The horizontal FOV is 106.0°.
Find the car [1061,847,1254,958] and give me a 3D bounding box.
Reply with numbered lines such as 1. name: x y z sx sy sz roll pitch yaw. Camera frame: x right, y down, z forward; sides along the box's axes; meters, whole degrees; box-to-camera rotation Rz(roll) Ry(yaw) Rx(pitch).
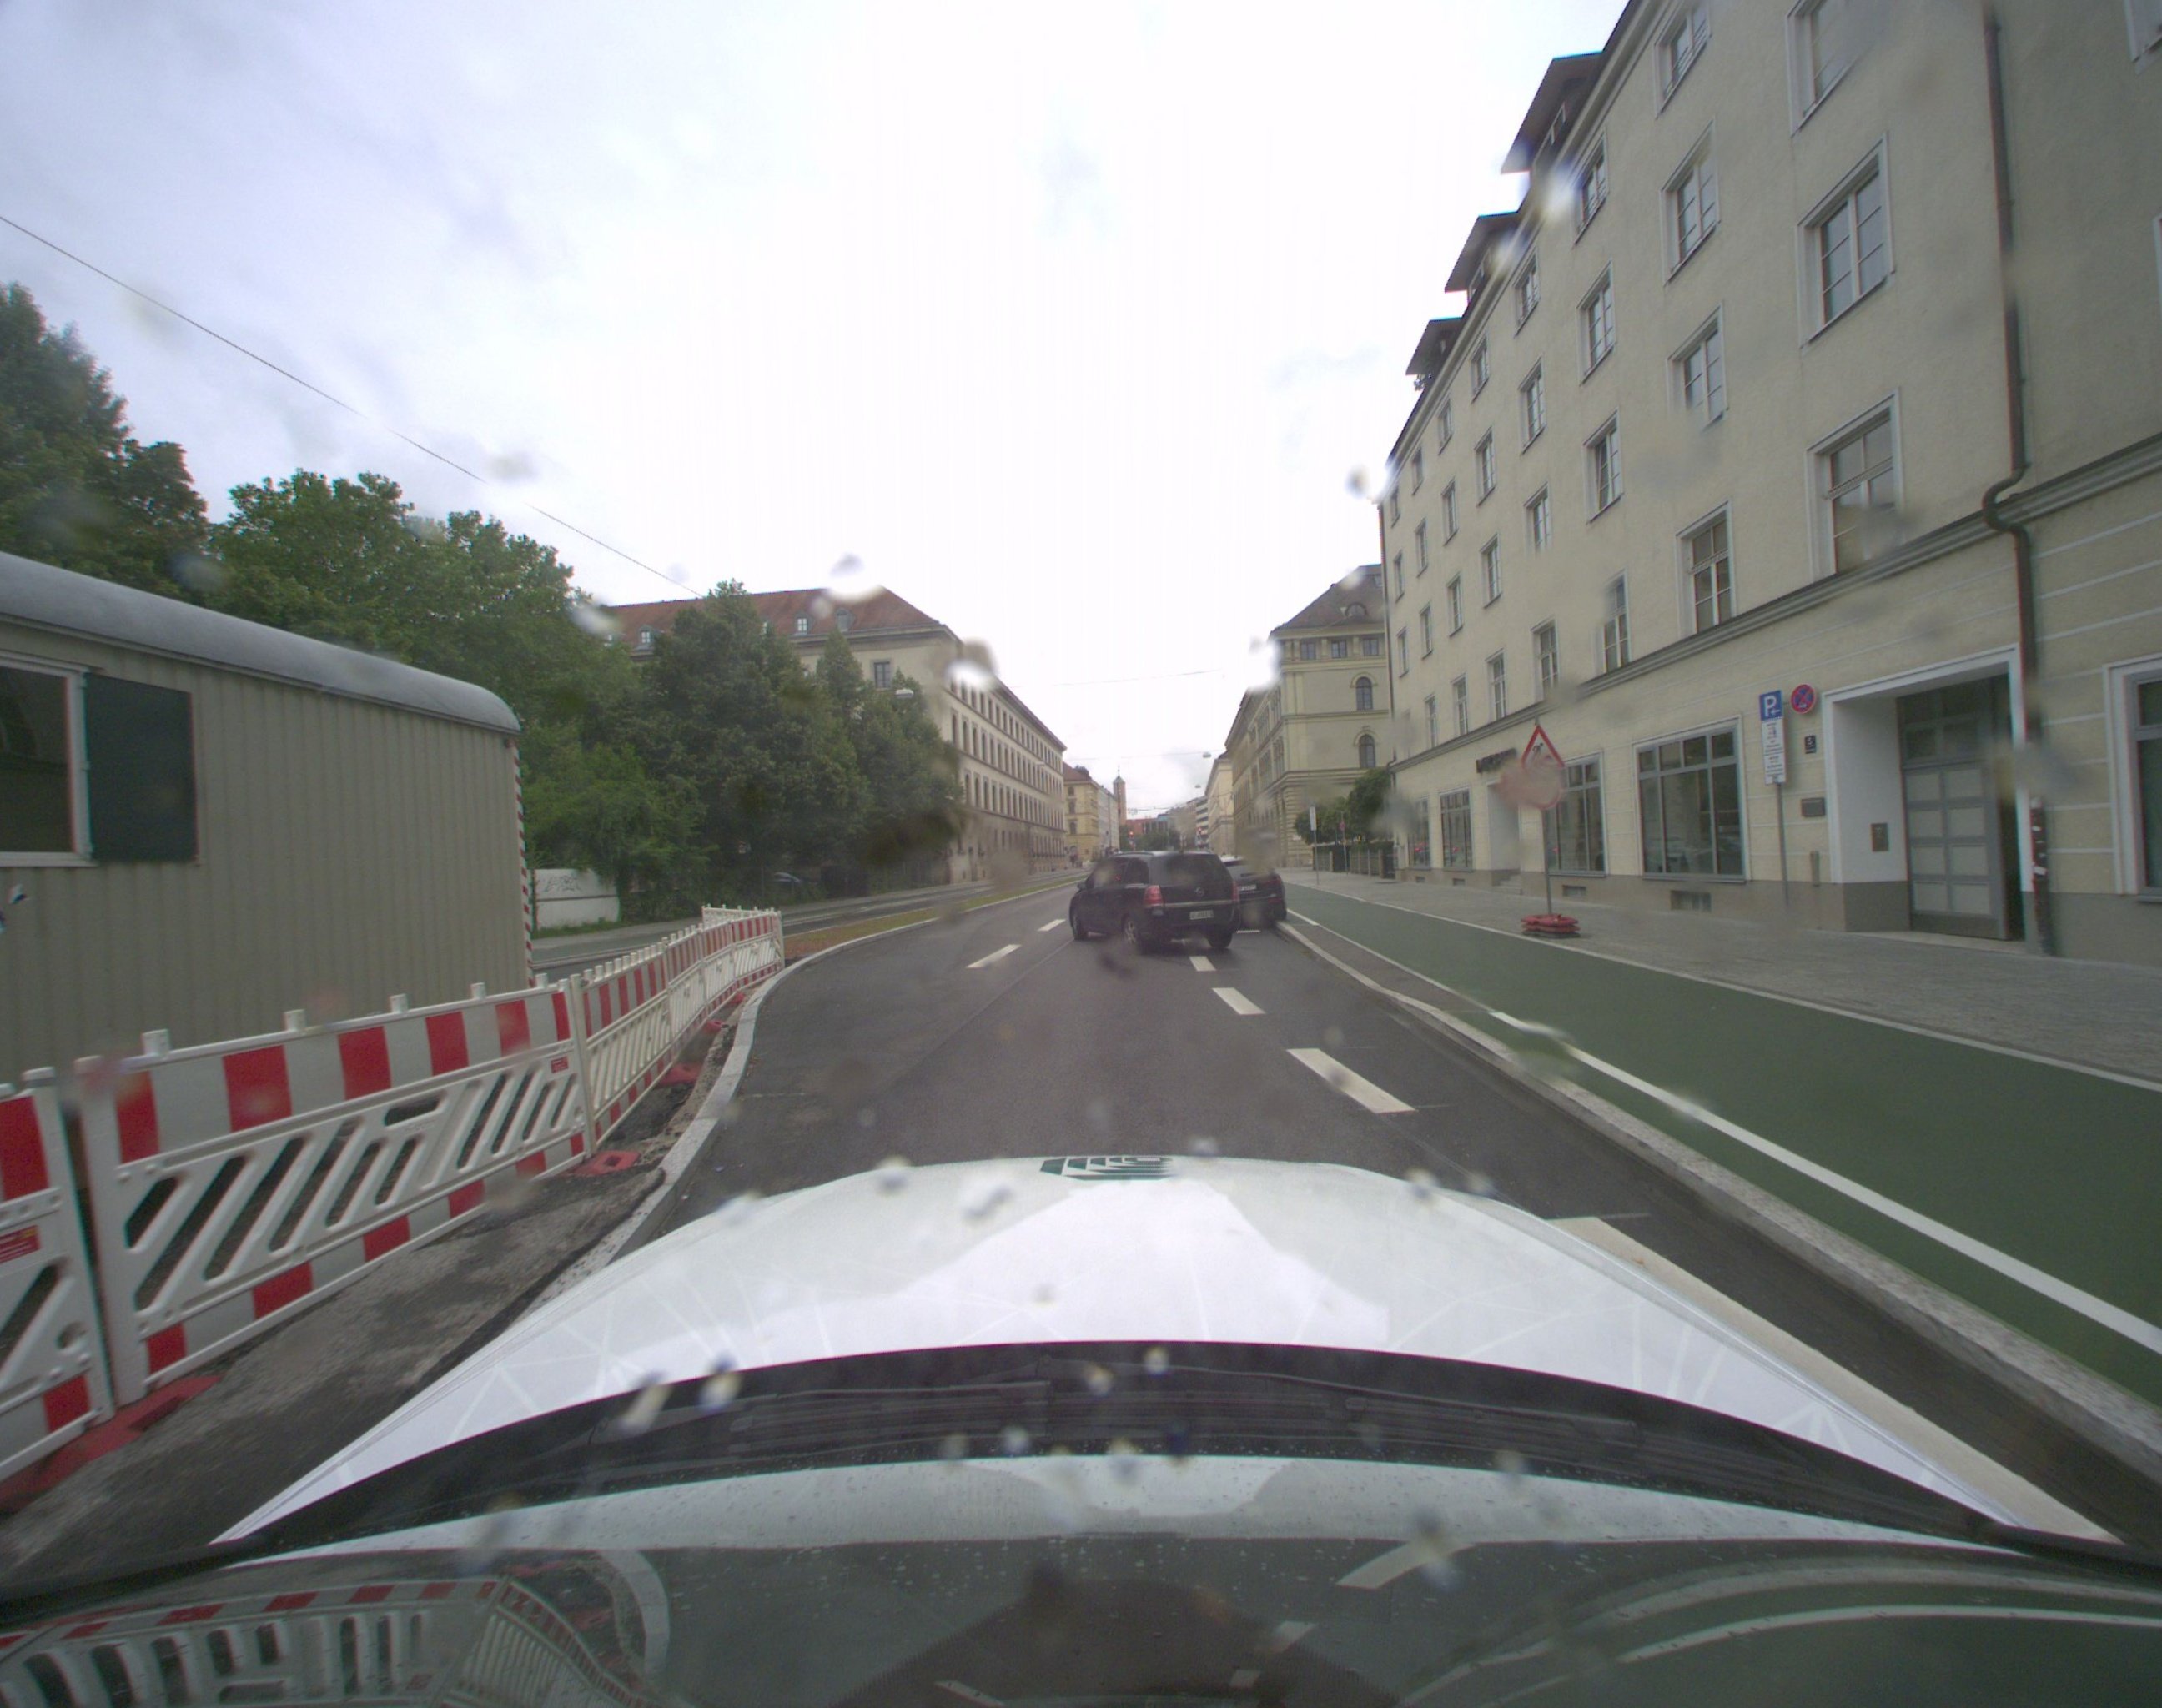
1. car: 1.150 0.736 14.258 1.771 1.616 4.001 -1 0 -21

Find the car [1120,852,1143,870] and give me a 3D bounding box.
1. car: 5.065 0.668 81.989 1.983 1.627 4.008 -3 0 7

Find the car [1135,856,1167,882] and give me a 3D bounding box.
1. car: 4.180 0.855 48.421 1.721 1.403 4.008 -1 0 7

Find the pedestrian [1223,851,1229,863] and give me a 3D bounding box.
1. pedestrian: 20.540 0.407 115.075 0.706 1.618 0.756 -3 -1 6

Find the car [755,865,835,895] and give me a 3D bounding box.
1. car: -17.867 1.616 50.985 4.240 1.649 1.808 -3 0 6

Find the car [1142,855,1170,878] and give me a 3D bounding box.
1. car: 5.130 0.807 55.220 1.721 1.461 4.008 -1 0 7

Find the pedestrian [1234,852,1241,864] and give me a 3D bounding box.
1. pedestrian: 20.968 0.518 109.069 0.706 1.618 0.756 -3 -1 6

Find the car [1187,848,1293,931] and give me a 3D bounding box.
1. car: 3.502 0.724 18.697 1.800 1.480 4.469 -6 -1 5

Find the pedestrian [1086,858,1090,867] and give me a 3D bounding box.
1. pedestrian: 1.392 1.666 160.439 0.652 1.805 0.728 -3 -1 6

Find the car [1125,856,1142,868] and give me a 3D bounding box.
1. car: 6.744 1.033 104.297 1.983 1.444 4.008 -3 0 7

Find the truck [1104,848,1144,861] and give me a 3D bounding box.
1. truck: 8.146 0.108 153.758 7.343 2.252 2.185 -1 -1 9
